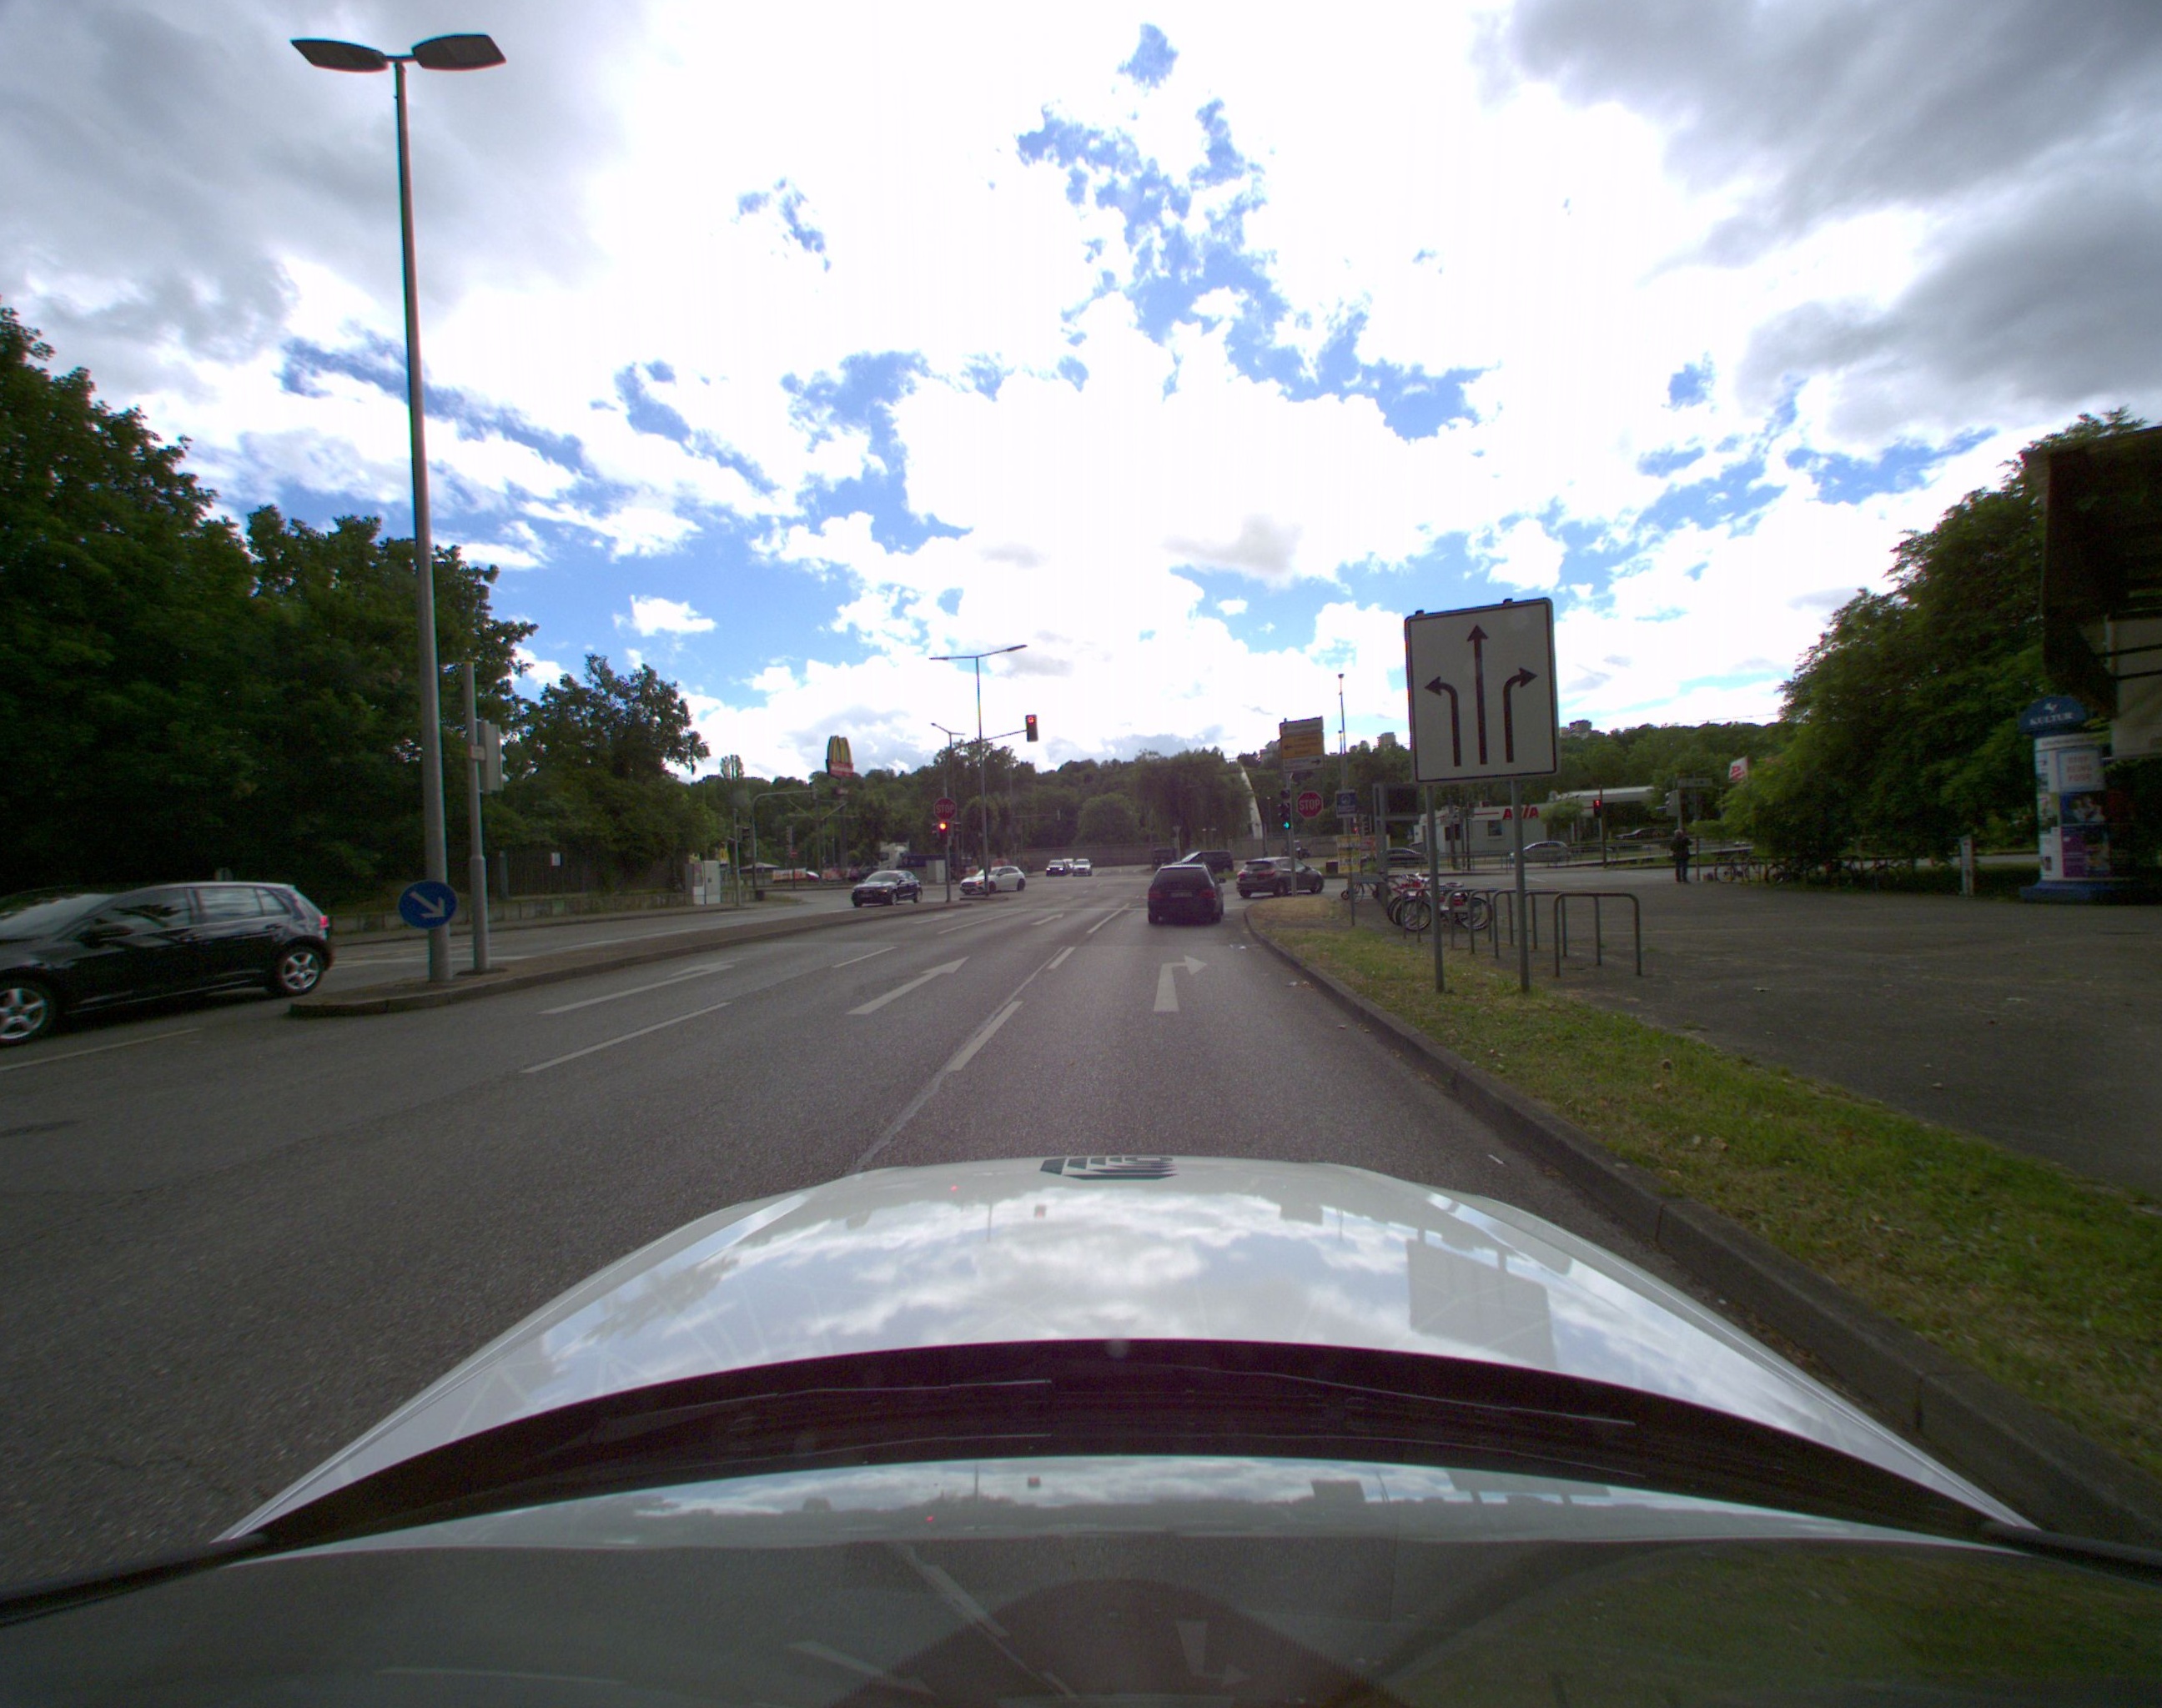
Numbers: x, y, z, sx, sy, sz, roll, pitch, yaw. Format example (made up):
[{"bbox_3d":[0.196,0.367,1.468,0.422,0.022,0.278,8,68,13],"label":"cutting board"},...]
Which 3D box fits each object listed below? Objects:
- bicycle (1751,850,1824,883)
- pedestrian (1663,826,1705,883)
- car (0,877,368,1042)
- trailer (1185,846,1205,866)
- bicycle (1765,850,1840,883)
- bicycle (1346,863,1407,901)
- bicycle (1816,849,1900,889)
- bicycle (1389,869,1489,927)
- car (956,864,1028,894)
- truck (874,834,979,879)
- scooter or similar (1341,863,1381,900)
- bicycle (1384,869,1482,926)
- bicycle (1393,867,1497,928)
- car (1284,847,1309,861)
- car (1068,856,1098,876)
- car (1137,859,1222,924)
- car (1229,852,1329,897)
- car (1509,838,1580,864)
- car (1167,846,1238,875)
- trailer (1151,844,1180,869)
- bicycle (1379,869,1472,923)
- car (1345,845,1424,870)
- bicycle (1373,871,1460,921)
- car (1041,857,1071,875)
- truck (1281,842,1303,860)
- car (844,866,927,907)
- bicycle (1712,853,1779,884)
[{"bbox_3d":[21.472,0.375,24.776,1.706,0.898,0.376,-4,-1,7],"label":"bicycle"},{"bbox_3d":[19.909,0.012,26.897,0.688,1.819,0.773,-2,-1,-15],"label":"pedestrian"},{"bbox_3d":[-10.330,1.003,8.635,1.671,1.366,4.311,-2,0,1],"label":"car"},{"bbox_3d":[13.173,0.259,93.785,1.980,2.184,4.012,-4,-1,11],"label":"trailer"},{"bbox_3d":[21.290,0.374,24.049,1.706,0.898,0.376,-3,-1,7],"label":"bicycle"},{"bbox_3d":[9.139,0.866,25.196,1.680,1.111,0.480,-2,1,7],"label":"bicycle"},{"bbox_3d":[20.749,0.398,21.756,1.706,0.991,0.376,-3,-1,7],"label":"bicycle"},{"bbox_3d":[7.216,0.887,16.486,1.766,1.111,0.457,-2,-1,12],"label":"bicycle"},{"bbox_3d":[-4.843,1.357,44.982,1.585,1.405,4.319,-3,0,31],"label":"car"},{"bbox_3d":[-14.422,0.275,76.063,9.023,3.588,3.235,-4,-1,20],"label":"truck"},{"bbox_3d":[9.196,0.913,26.774,1.172,1.169,0.295,-3,-1,15],"label":"scooter or similar"},{"bbox_3d":[7.386,0.908,17.155,1.768,1.111,0.581,-2,-1,7],"label":"bicycle"},{"bbox_3d":[7.022,0.854,15.763,1.762,1.111,0.428,-3,-2,26],"label":"bicycle"},{"bbox_3d":[29.436,0.019,111.107,3.126,1.819,1.409,-4,-1,15],"label":"car"},{"bbox_3d":[0.218,1.171,83.045,1.979,1.860,4.017,-3,0,15],"label":"car"},{"bbox_3d":[2.702,0.898,21.461,1.810,1.509,4.589,-1,-1,12],"label":"car"},{"bbox_3d":[7.814,0.770,31.986,4.172,1.530,1.711,-2,0,-43],"label":"car"},{"bbox_3d":[30.741,-0.195,54.090,3.741,1.508,1.711,-3,0,16],"label":"car"},{"bbox_3d":[8.356,0.470,56.161,4.553,1.774,1.598,-3,0,-16],"label":"car"},{"bbox_3d":[9.648,0.327,92.149,2.334,2.582,4.940,-4,-1,15],"label":"trailer"},{"bbox_3d":[7.546,0.927,17.898,1.768,1.111,0.542,-2,-3,7],"label":"bicycle"},{"bbox_3d":[21.103,0.258,56.852,5.010,1.523,1.752,-3,0,18],"label":"car"},{"bbox_3d":[7.870,0.973,19.162,1.768,1.111,0.554,-2,-1,7],"label":"bicycle"},{"bbox_3d":[-2.575,1.208,84.451,1.979,1.640,4.017,-3,0,15],"label":"car"},{"bbox_3d":[25.089,-0.339,96.862,2.219,2.014,5.258,-4,-1,12],"label":"truck"},{"bbox_3d":[-7.920,1.298,33.345,1.604,1.416,3.910,-3,0,14],"label":"car"},{"bbox_3d":[21.568,0.469,26.440,1.706,0.898,0.360,-3,-1,7],"label":"bicycle"}]
